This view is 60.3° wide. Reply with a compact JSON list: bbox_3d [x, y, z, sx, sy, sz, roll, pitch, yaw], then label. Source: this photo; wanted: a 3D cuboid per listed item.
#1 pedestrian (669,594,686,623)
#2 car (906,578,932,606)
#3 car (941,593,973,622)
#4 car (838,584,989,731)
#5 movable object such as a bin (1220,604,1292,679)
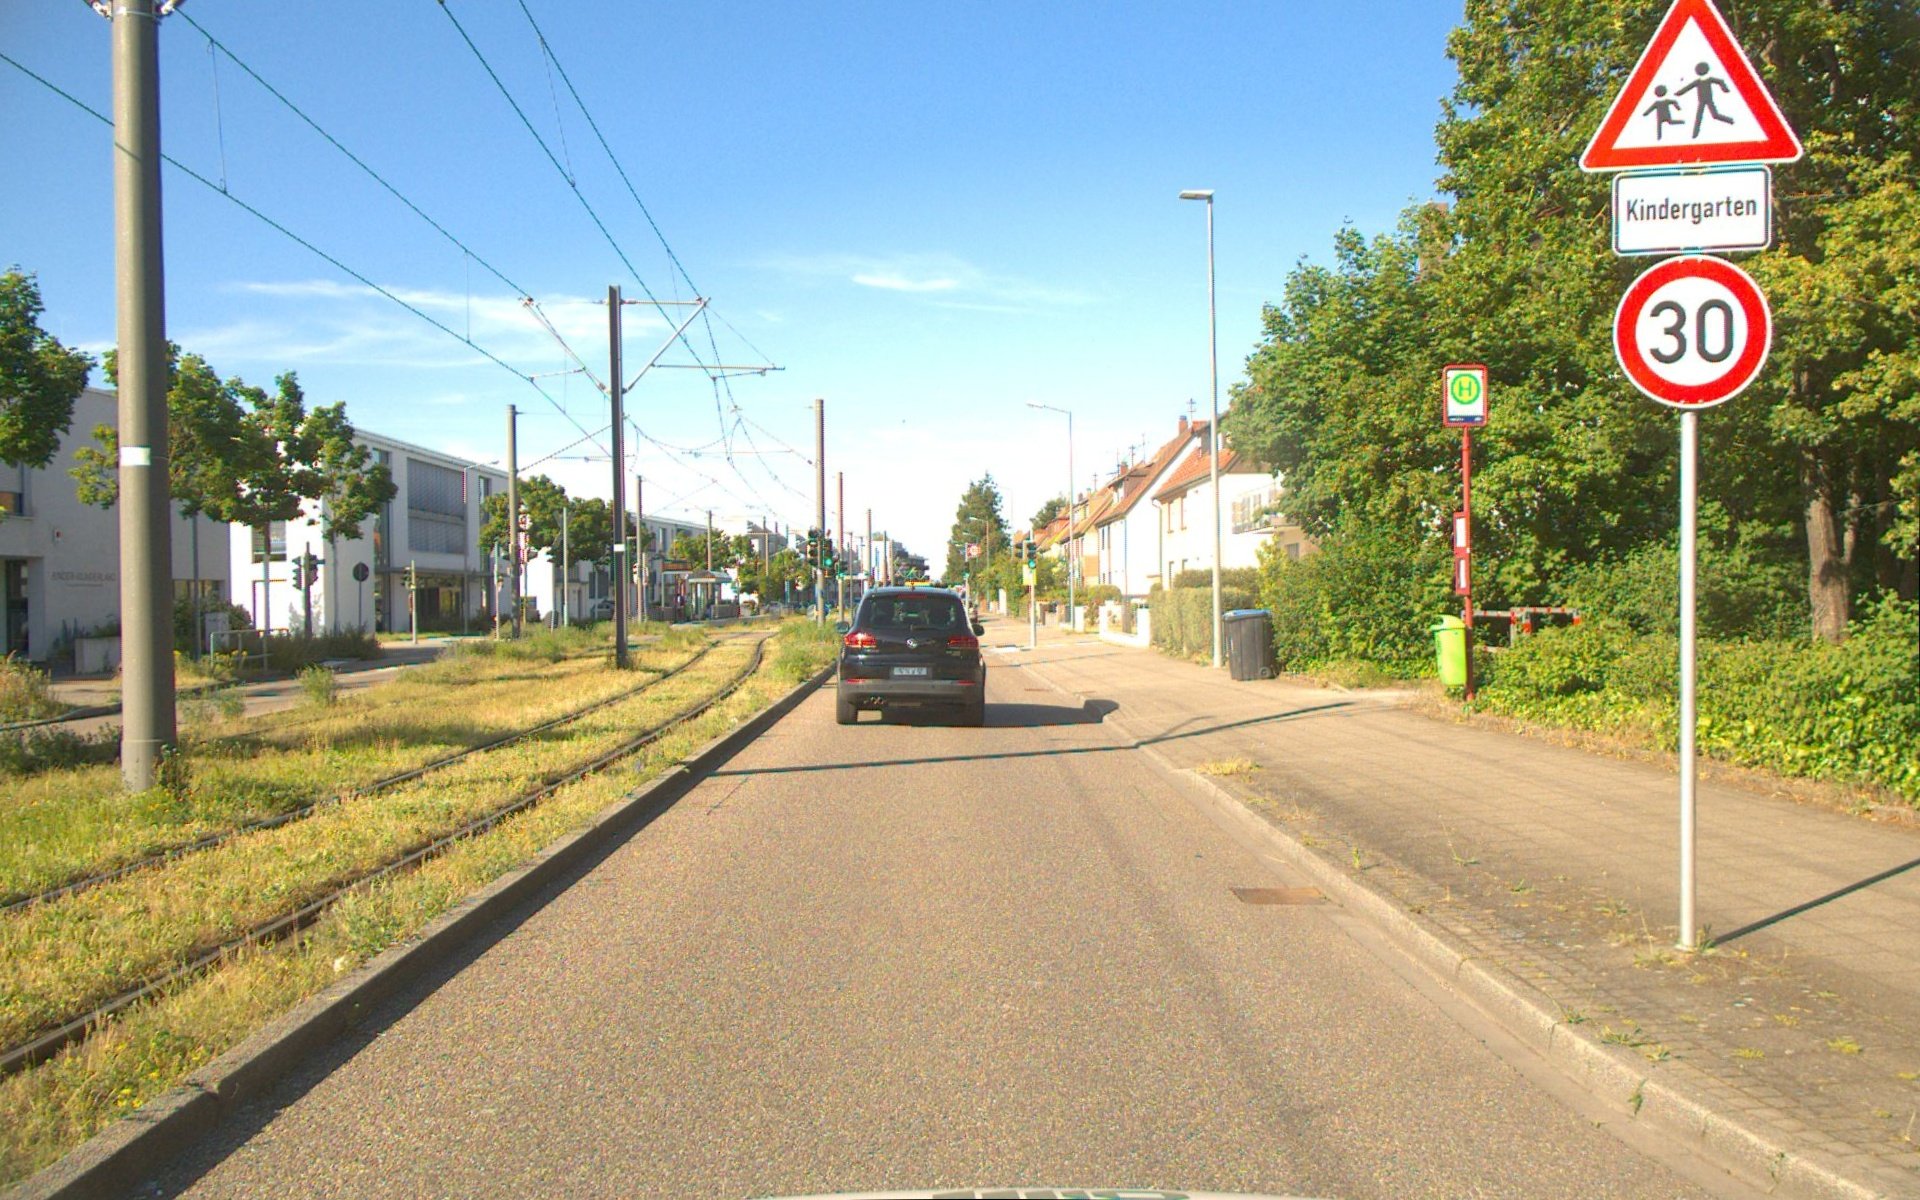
[{"bbox_3d":[-16.261,0.495,95.118,0.868,1.614,0.624,-1,0,-19],"label":"pedestrian"},{"bbox_3d":[-3.925,-0.737,158.403,2.345,2.609,5.529,-1,0,0],"label":"car"},{"bbox_3d":[-0.201,0.454,99.999,1.740,1.699,3.998,0,0,-3],"label":"car"},{"bbox_3d":[-0.632,0.670,21.164,1.740,1.699,3.998,0,0,-3],"label":"car"},{"bbox_3d":[4.715,0.655,26.405,0.955,1.130,1.171,-1,0,3],"label":"movable object such as a bin"}]
